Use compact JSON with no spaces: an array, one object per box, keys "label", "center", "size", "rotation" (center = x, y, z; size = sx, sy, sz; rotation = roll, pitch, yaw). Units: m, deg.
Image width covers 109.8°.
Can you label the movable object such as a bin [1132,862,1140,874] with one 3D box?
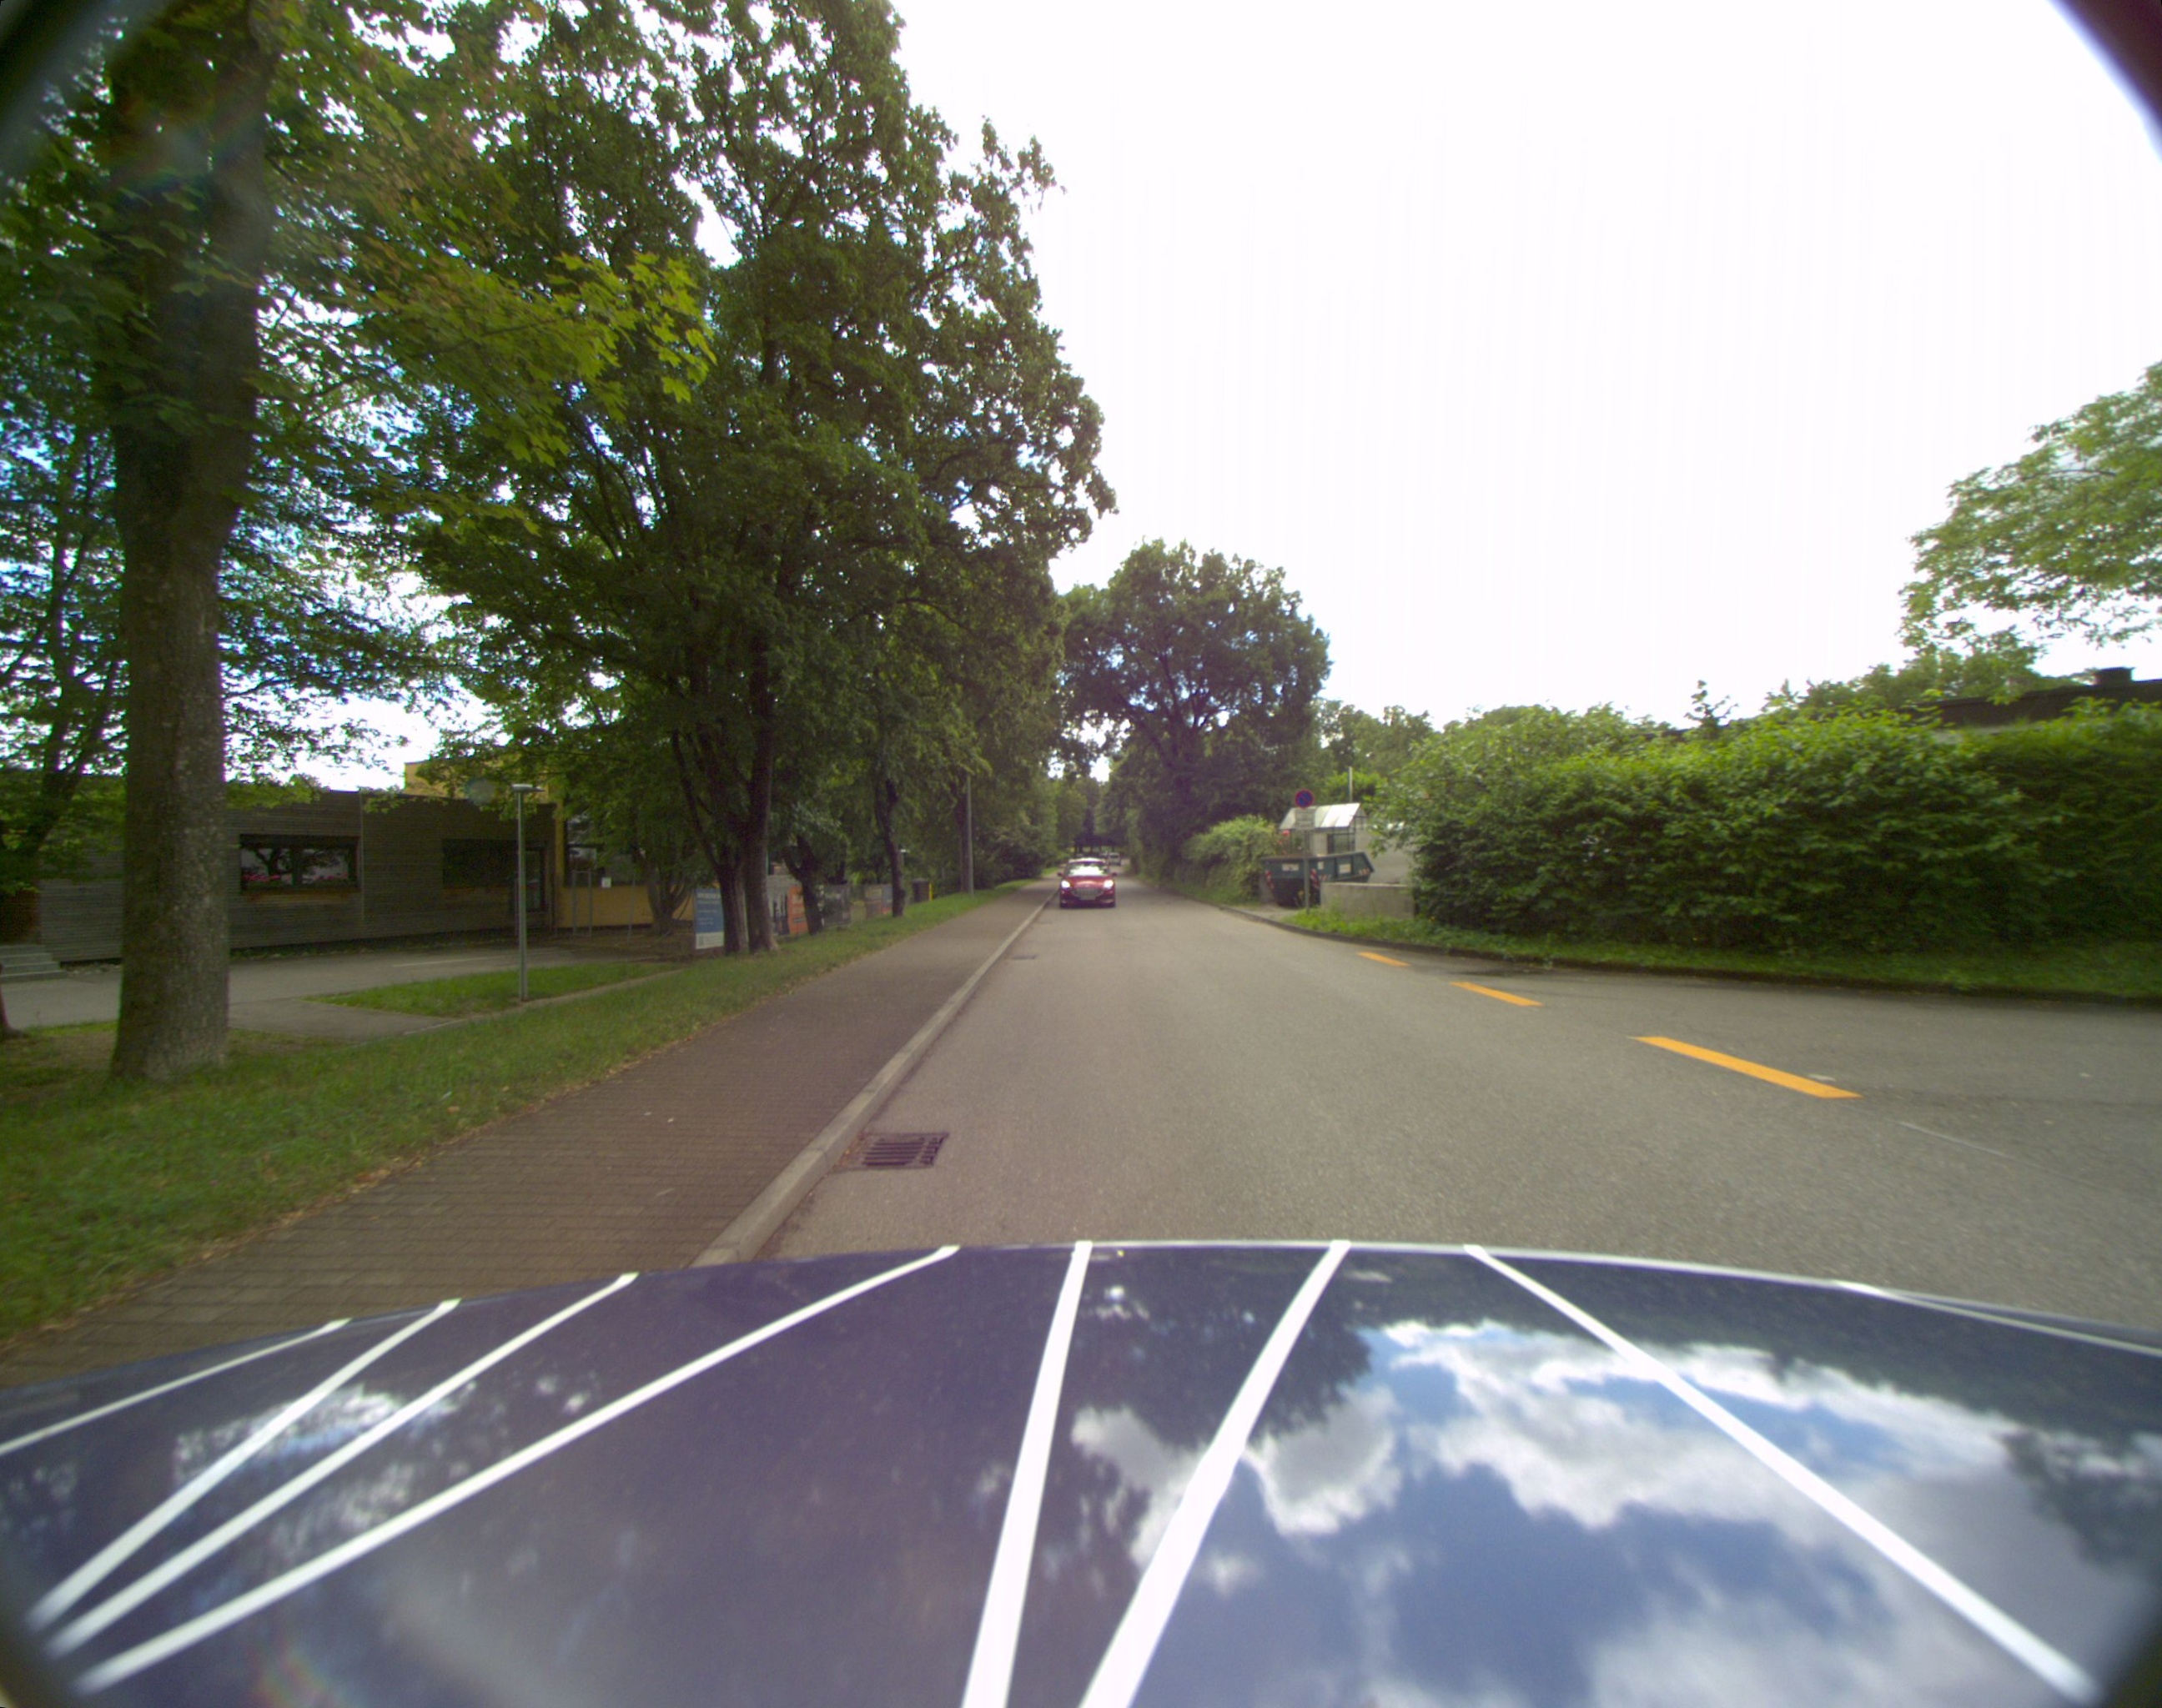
[{"label":"movable object such as a bin","center":[4.934,1.260,68.161],"size":[0.649,1.007,0.632],"rotation":[0,1,16]}]

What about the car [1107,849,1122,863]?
[{"label":"car","center":[4.834,0.222,109.097],"size":[1.878,1.902,4.430],"rotation":[0,1,0]}]

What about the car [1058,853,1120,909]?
[{"label":"car","center":[0.358,0.887,26.637],"size":[1.816,1.717,4.001],"rotation":[1,1,6]}]
